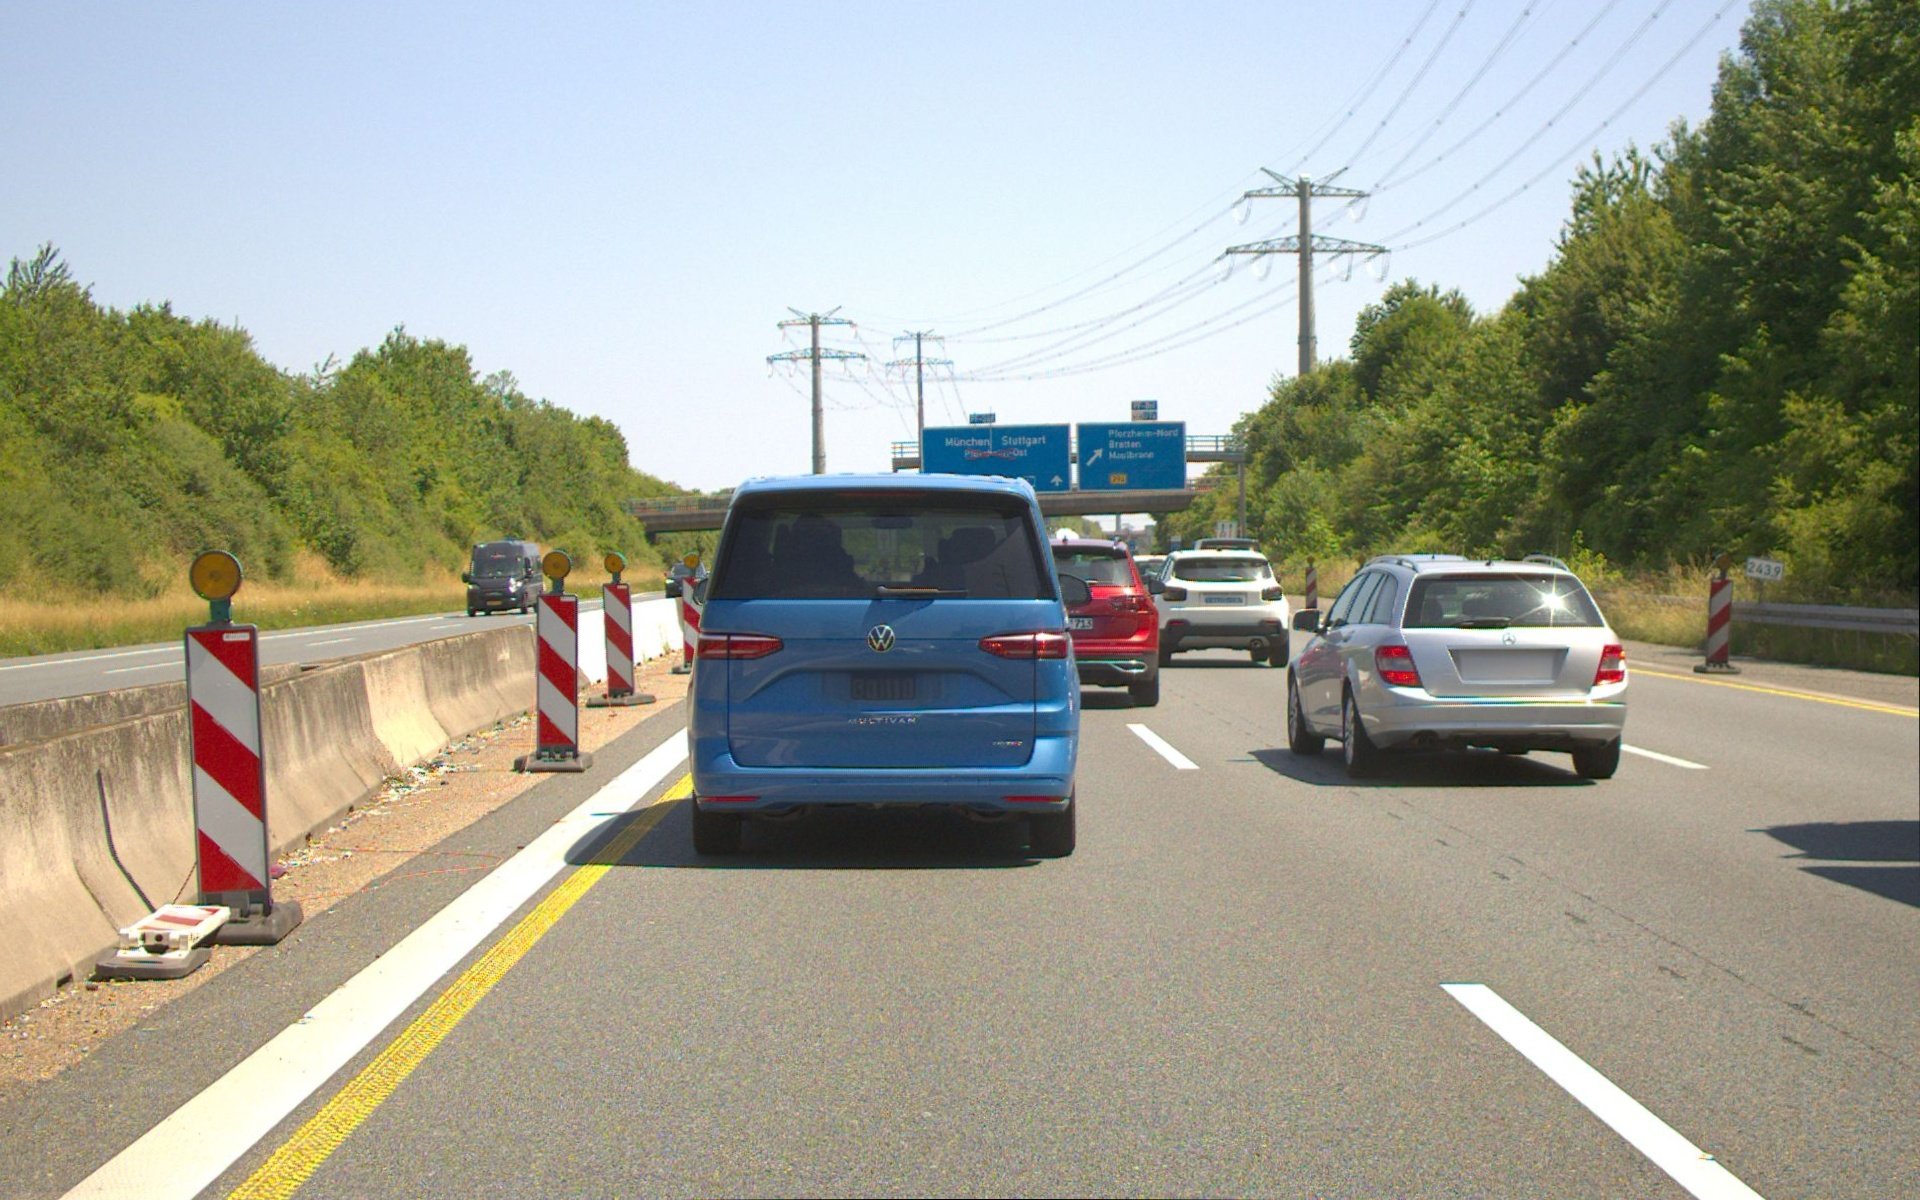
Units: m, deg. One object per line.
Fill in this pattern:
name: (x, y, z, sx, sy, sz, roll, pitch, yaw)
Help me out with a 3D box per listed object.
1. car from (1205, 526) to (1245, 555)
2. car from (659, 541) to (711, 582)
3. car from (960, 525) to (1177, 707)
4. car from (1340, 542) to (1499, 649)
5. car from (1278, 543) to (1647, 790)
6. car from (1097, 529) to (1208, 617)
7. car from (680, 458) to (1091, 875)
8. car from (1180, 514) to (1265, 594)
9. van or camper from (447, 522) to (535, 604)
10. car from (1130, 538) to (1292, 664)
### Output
car: (15.653, -3.500, 203.215, 1.874, 1.665, 4.360, 1, 1, -1)
car: (-12.116, -1.713, 151.636, 1.993, 1.678, 4.153, -3, 1, -1)
car: (1.007, 0.122, 34.079, 1.874, 1.665, 4.360, 1, 1, -1)
car: (6.507, -0.079, 48.991, 1.701, 1.443, 3.788, 1, 1, -1)
car: (3.335, 0.389, 23.626, 1.770, 1.512, 4.360, 1, 1, -1)
car: (3.621, -0.512, 65.243, 1.797, 1.588, 4.227, 1, 1, -1)
car: (-0.400, 0.285, 18.101, 1.874, 1.905, 4.360, 1, 1, -1)
car: (6.812, -1.184, 89.436, 1.797, 2.007, 4.227, 1, 1, -1)
van or camper: (-16.548, -1.322, 121.716, 2.222, 2.701, 7.081, -3, 1, -2)
car: (3.320, -0.007, 46.190, 1.797, 1.588, 4.227, 1, 1, -1)
